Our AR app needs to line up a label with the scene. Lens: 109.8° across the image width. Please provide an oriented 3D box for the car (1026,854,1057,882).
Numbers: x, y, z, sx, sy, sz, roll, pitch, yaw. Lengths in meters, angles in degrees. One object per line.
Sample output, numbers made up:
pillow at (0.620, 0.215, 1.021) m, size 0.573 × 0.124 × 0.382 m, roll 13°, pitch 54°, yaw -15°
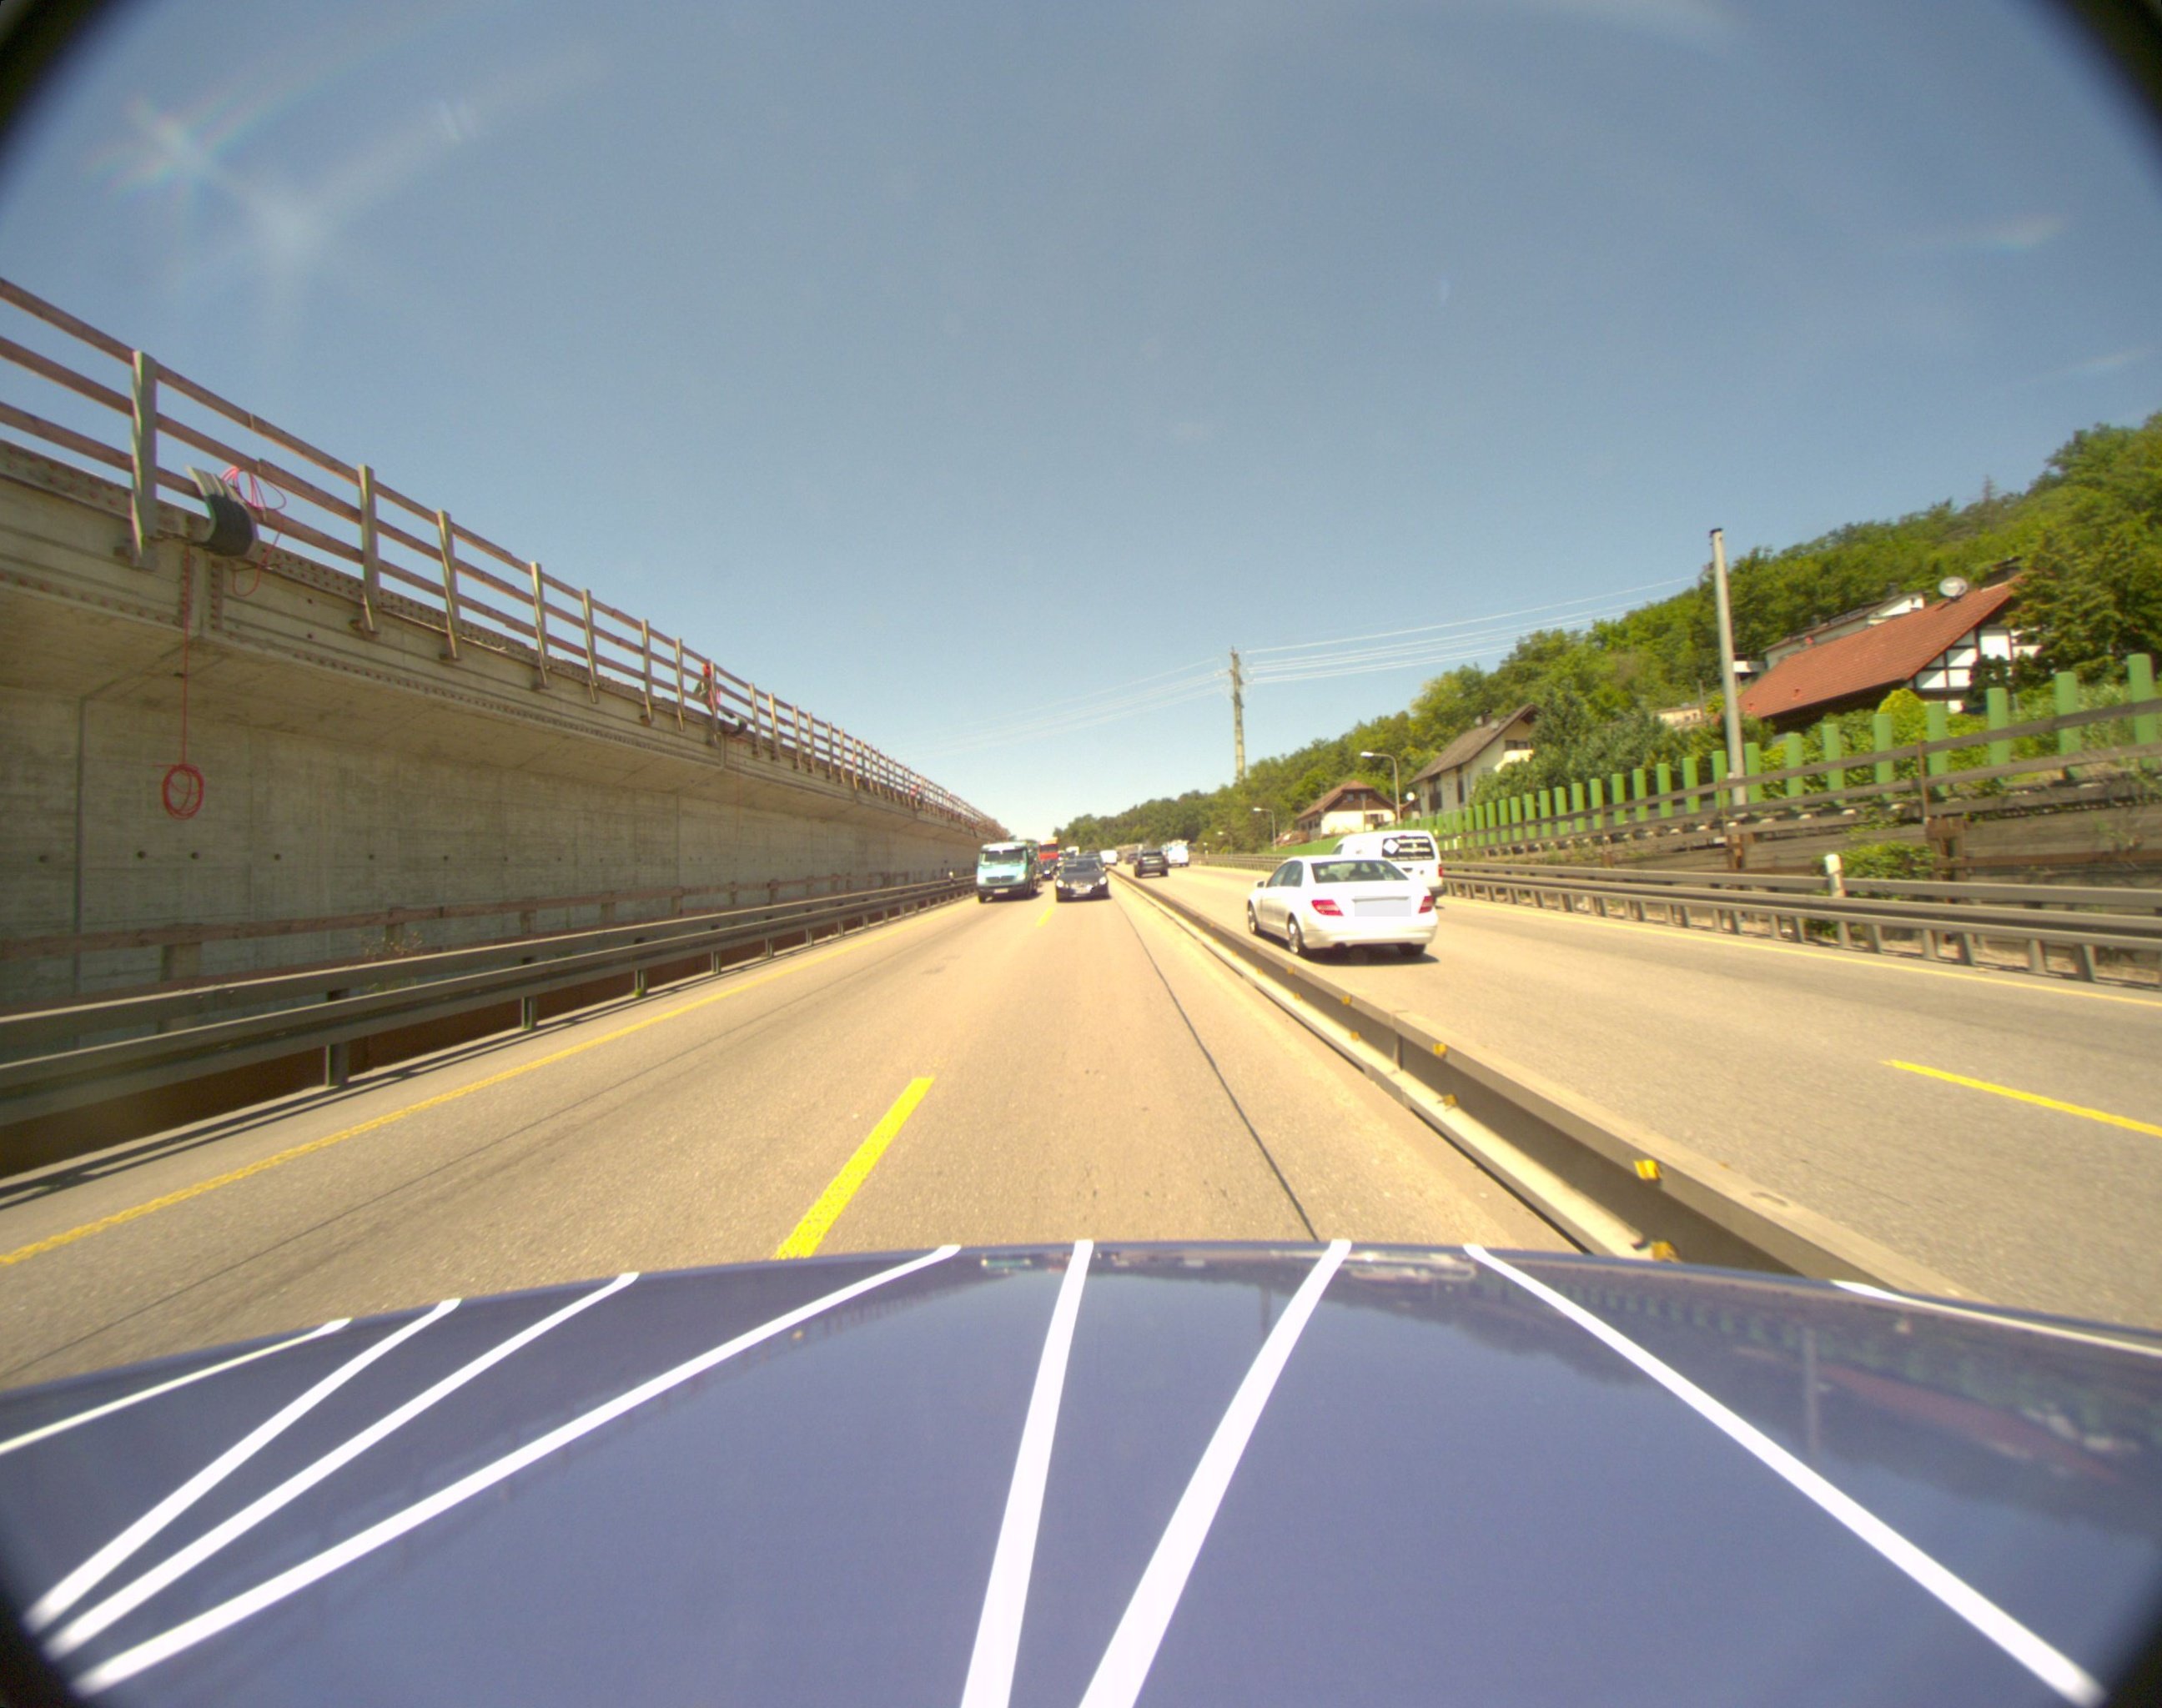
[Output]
car at (-2.691, 0.958, 52.709) m, size 1.859 × 1.650 × 3.999 m, roll -5°, pitch 1°, yaw 0°

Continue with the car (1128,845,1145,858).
car at (6.895, -0.286, 94.677) m, size 1.753 × 1.434 × 4.052 m, roll -4°, pitch 1°, yaw 1°

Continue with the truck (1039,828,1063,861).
truck at (-4.032, -1.305, 104.305) m, size 2.651 × 3.978 × 11.193 m, roll -5°, pitch 1°, yaw -1°

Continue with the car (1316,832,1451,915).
car at (7.478, 0.404, 19.308) m, size 1.600 × 1.823 × 4.752 m, roll -1°, pitch 1°, yaw 1°

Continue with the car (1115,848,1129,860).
car at (6.530, 0.022, 120.892) m, size 1.998 × 1.816 × 4.508 m, roll -3°, pitch 0°, yaw 0°

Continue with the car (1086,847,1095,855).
car at (2.274, -0.702, 181.736) m, size 1.998 × 2.002 × 4.000 m, roll -2°, pitch 0°, yaw 1°

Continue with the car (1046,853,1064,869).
car at (-2.951, 0.779, 86.224) m, size 1.674 × 1.499 × 3.648 m, roll -5°, pitch 1°, yaw 1°

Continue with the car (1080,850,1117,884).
car at (0.952, 0.708, 44.010) m, size 1.859 × 1.650 × 3.999 m, roll -5°, pitch 1°, yaw -1°

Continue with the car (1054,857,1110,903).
car at (-0.028, 0.862, 27.465) m, size 1.793 × 1.440 × 4.296 m, roll -3°, pitch 0°, yaw -2°

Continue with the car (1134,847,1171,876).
car at (4.260, 0.424, 45.772) m, size 1.779 × 1.624 × 4.100 m, roll -3°, pitch 0°, yaw 1°

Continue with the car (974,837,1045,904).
car at (-2.847, 0.607, 31.980) m, size 1.968 × 2.367 × 7.210 m, roll -4°, pitch 0°, yaw 1°

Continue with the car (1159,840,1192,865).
car at (7.967, -0.133, 64.396) m, size 1.830 × 1.914 × 5.242 m, roll -3°, pitch 0°, yaw -2°

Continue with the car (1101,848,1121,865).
car at (3.667, 0.262, 93.136) m, size 2.163 × 1.895 × 5.325 m, roll -3°, pitch 1°, yaw 1°

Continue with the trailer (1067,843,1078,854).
trailer at (-2.032, -1.338, 185.536) m, size 2.606 × 2.573 × 6.240 m, roll -4°, pitch 1°, yaw -1°

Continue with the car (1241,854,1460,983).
car at (3.740, 0.783, 11.400) m, size 1.737 × 1.429 × 4.258 m, roll -3°, pitch 1°, yaw 0°
